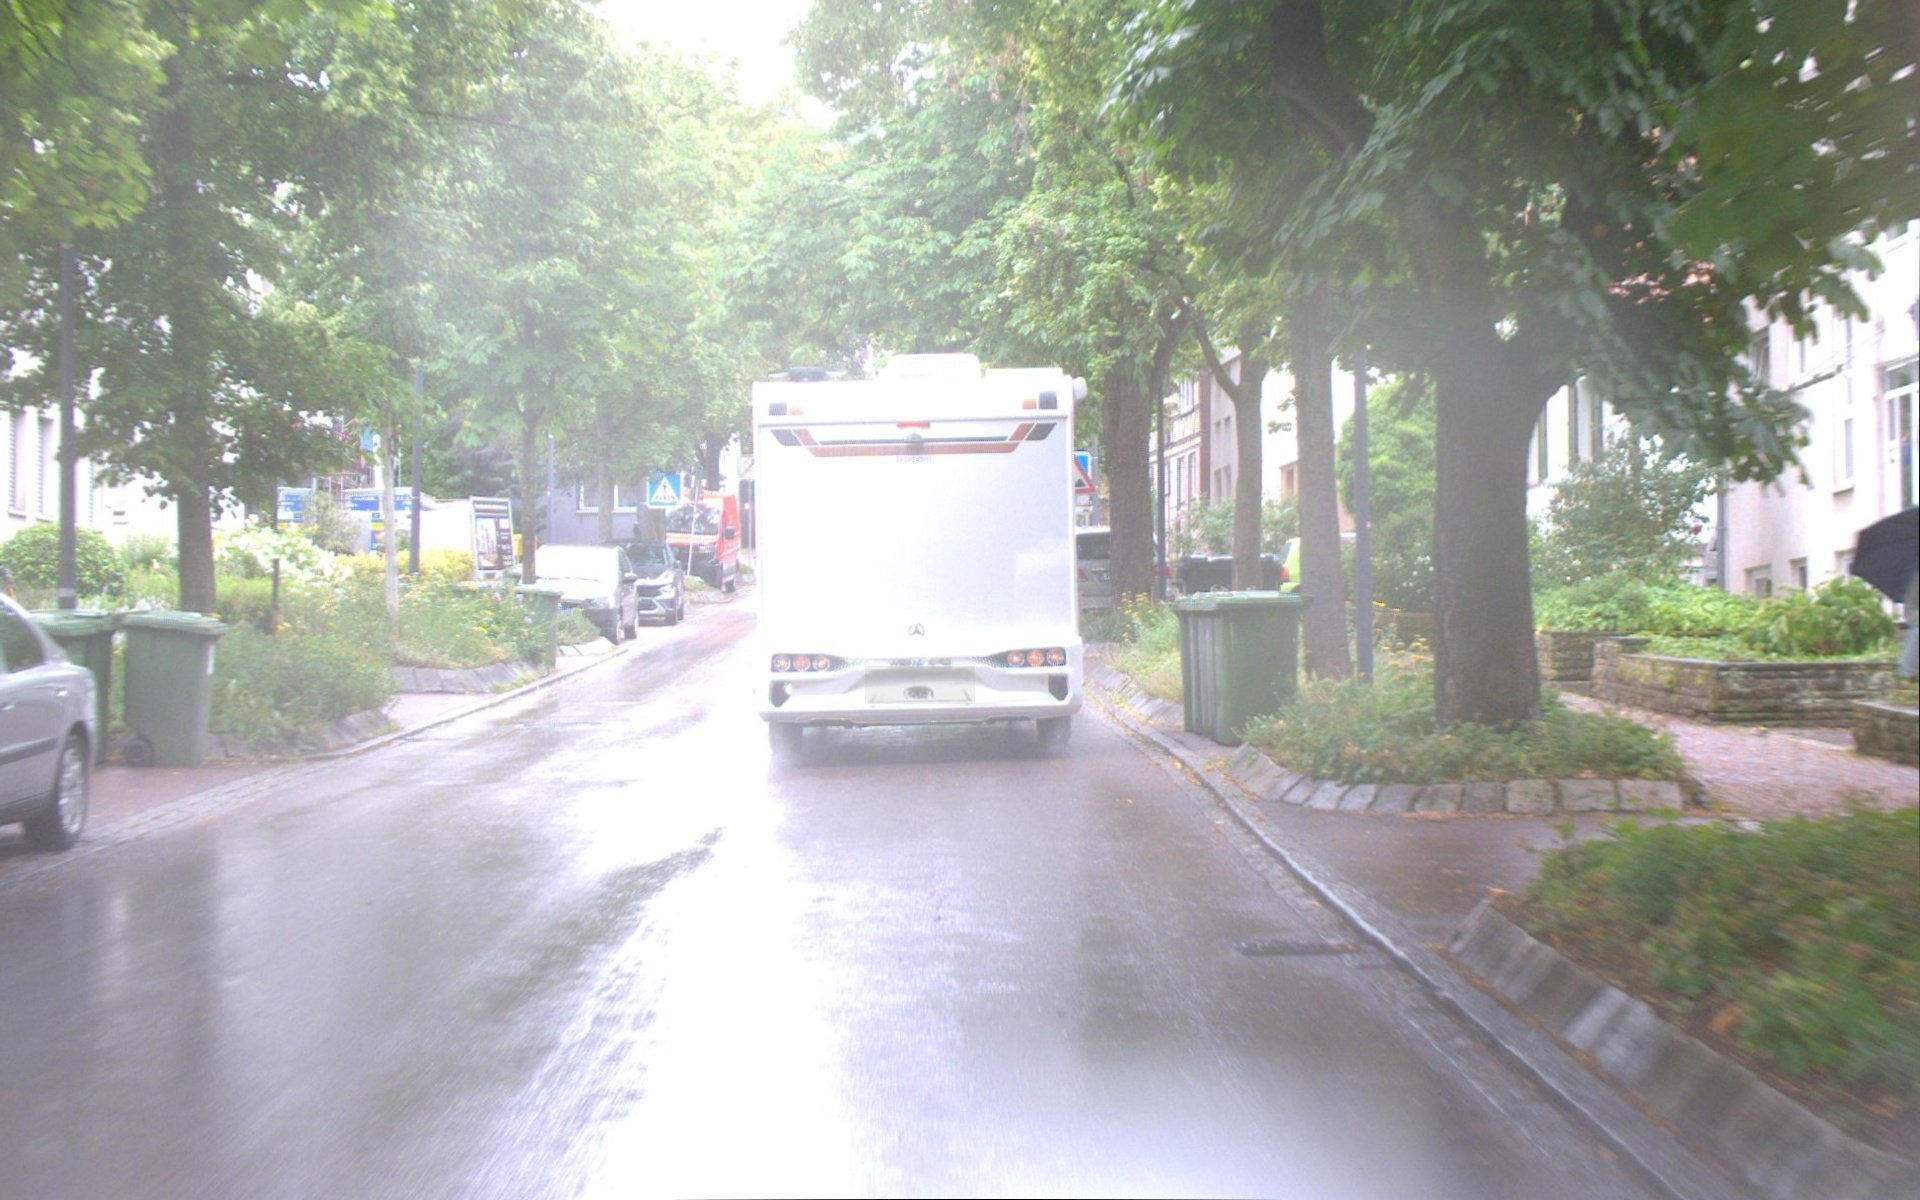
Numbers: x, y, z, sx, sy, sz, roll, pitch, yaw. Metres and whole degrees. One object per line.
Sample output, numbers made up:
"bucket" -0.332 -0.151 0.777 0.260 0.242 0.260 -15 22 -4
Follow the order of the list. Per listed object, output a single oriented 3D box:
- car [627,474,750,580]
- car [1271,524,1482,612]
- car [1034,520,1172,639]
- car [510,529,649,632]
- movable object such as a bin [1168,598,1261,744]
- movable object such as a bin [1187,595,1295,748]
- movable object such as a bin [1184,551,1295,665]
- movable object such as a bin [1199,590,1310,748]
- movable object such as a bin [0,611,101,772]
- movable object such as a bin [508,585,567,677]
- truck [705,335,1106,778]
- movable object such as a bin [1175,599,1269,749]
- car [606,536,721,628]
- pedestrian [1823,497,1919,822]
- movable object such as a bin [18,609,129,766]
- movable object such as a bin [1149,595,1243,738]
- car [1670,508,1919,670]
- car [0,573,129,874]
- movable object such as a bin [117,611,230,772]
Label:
"car" -6.552 -1.817 83.612 2.303 2.474 5.785 0 2 2
"car" 7.241 -0.567 59.922 3.364 1.425 1.631 -2 1 -4
"car" 2.193 -0.346 53.800 1.914 1.786 4.489 0 1 -1
"car" -5.938 -0.332 54.009 1.647 1.528 3.866 1 1 1
"movable object such as a bin" 1.905 0.527 25.769 0.630 1.079 0.472 0 1 -4
"movable object such as a bin" 2.007 0.504 24.597 0.688 1.079 0.541 0 1 -4
"movable object such as a bin" 3.284 0.084 40.504 1.225 1.311 1.134 -1 1 2
"movable object such as a bin" 2.054 0.477 24.003 0.688 1.079 0.541 0 1 -4
"movable object such as a bin" -6.222 0.616 23.376 0.595 1.059 0.545 1 1 3
"movable object such as a bin" -5.229 0.381 42.589 0.643 1.107 0.536 0 1 1
"truck" -0.399 -0.332 26.357 2.694 2.975 6.237 0 1 -1
"movable object such as a bin" 1.920 0.539 25.234 0.609 1.079 0.513 0 1 -4
"car" -5.428 -0.361 63.350 1.771 1.548 4.000 2 1 -1
"pedestrian" 4.971 0.295 17.767 0.955 1.646 0.793 -1 0 13
"movable object such as a bin" -6.183 0.606 23.988 0.595 1.059 0.545 1 1 3
"movable object such as a bin" 1.807 0.506 26.357 0.643 1.079 0.541 0 1 -4
"car" 11.808 -0.092 45.030 4.461 1.893 2.000 4 0 -1
"car" -5.417 0.579 16.295 1.772 1.384 4.545 2 1 1
"movable object such as a bin" -5.454 0.628 23.858 0.595 1.059 0.545 3 1 3
